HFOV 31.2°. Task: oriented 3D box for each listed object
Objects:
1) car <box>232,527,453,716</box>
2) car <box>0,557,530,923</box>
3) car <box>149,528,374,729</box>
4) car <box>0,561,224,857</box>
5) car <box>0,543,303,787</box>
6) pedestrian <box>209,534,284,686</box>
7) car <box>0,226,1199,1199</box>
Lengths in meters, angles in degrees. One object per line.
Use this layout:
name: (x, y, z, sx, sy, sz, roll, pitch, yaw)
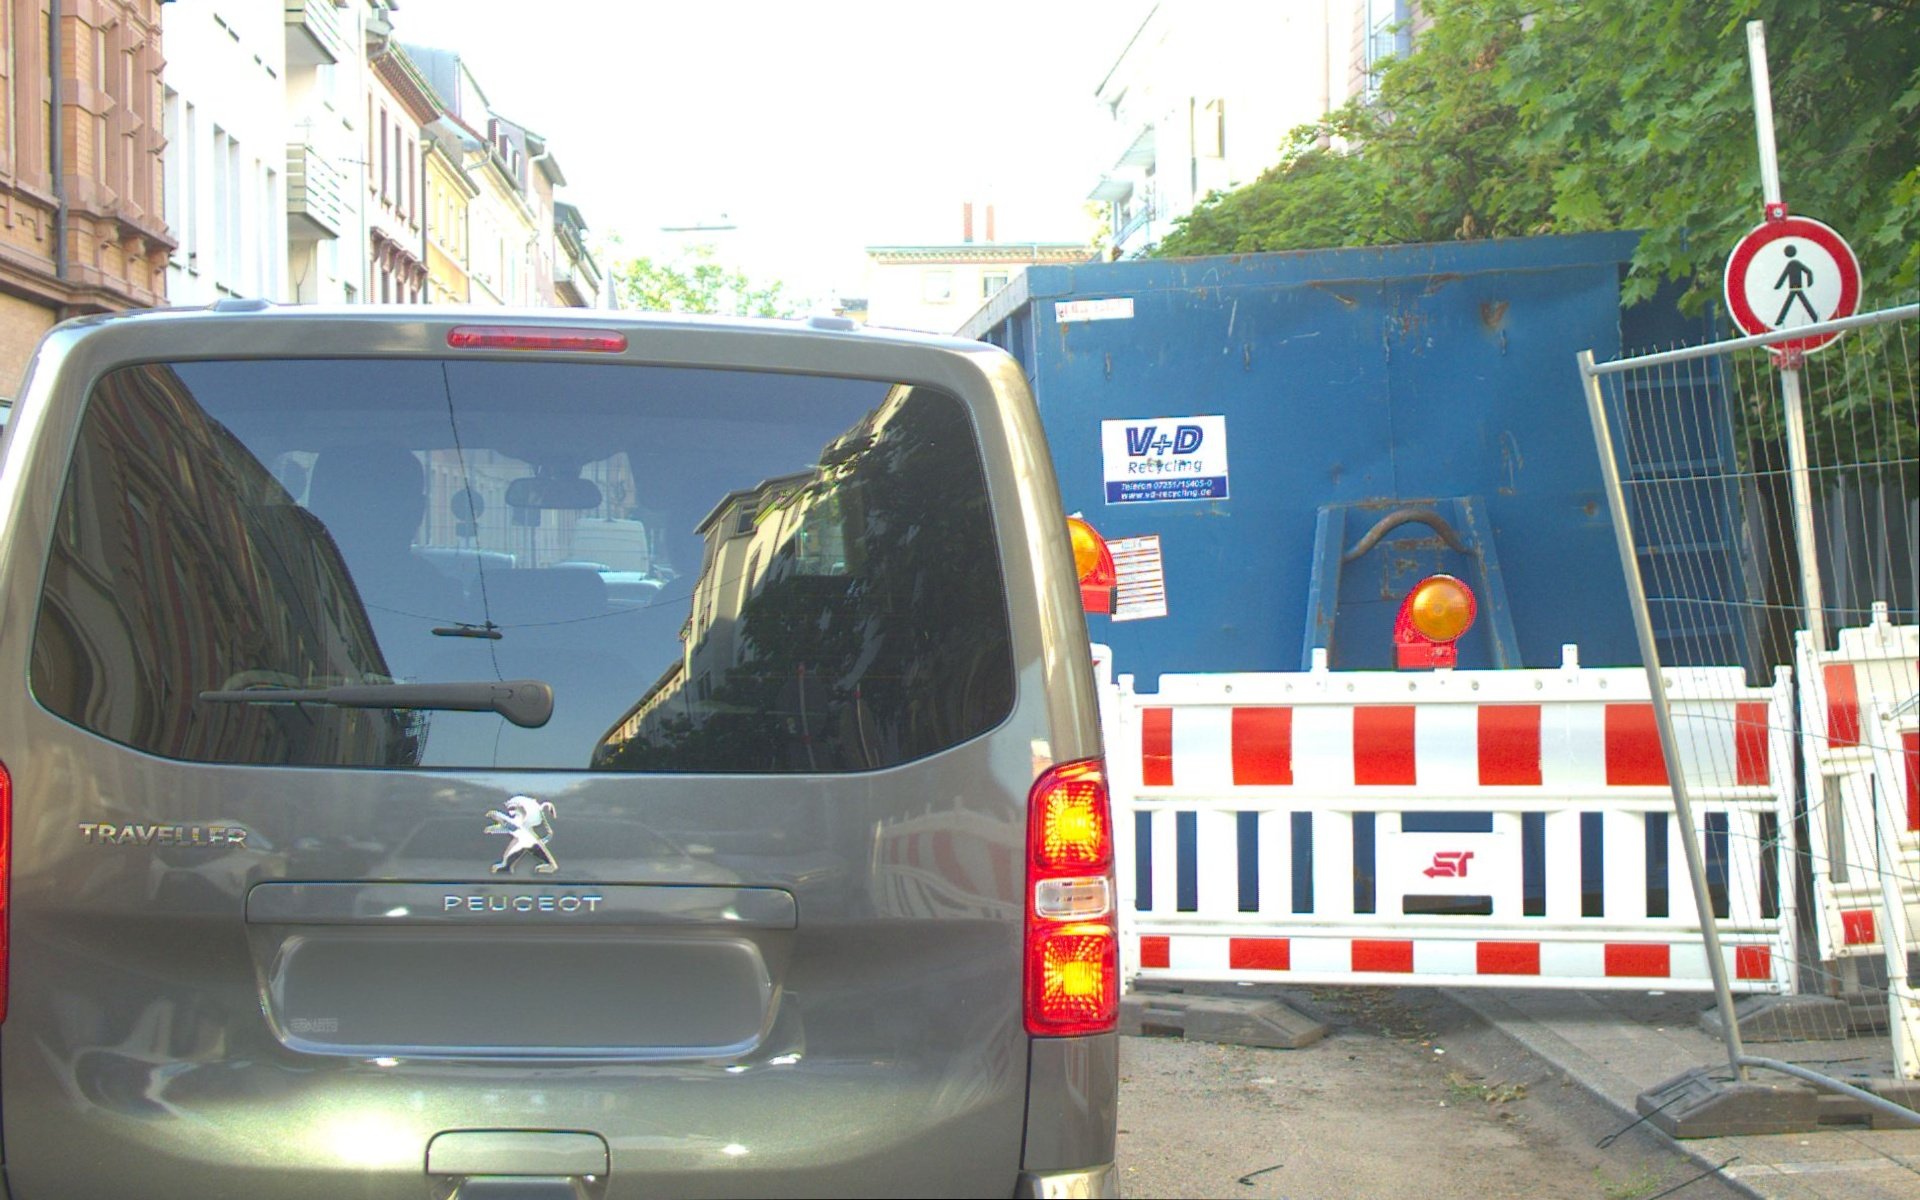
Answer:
car: (-6.293, 0.203, 35.372, 1.891, 1.714, 3.755, 4, 0, -7)
car: (-3.090, 0.581, 15.770, 1.656, 1.455, 3.417, -2, 0, 2)
car: (-6.394, 0.247, 31.727, 1.666, 1.660, 3.092, 4, 0, -7)
car: (-5.198, 0.535, 19.337, 1.655, 1.455, 3.418, 4, 0, -7)
car: (-5.733, 0.430, 24.645, 1.655, 1.520, 3.418, 4, 0, -7)
pedestrian: (-7.897, 0.102, 38.082, 0.739, 1.659, 0.704, -1, 1, -7)
car: (-0.846, 0.442, 6.658, 1.865, 1.880, 4.236, 0, 0, -7)
